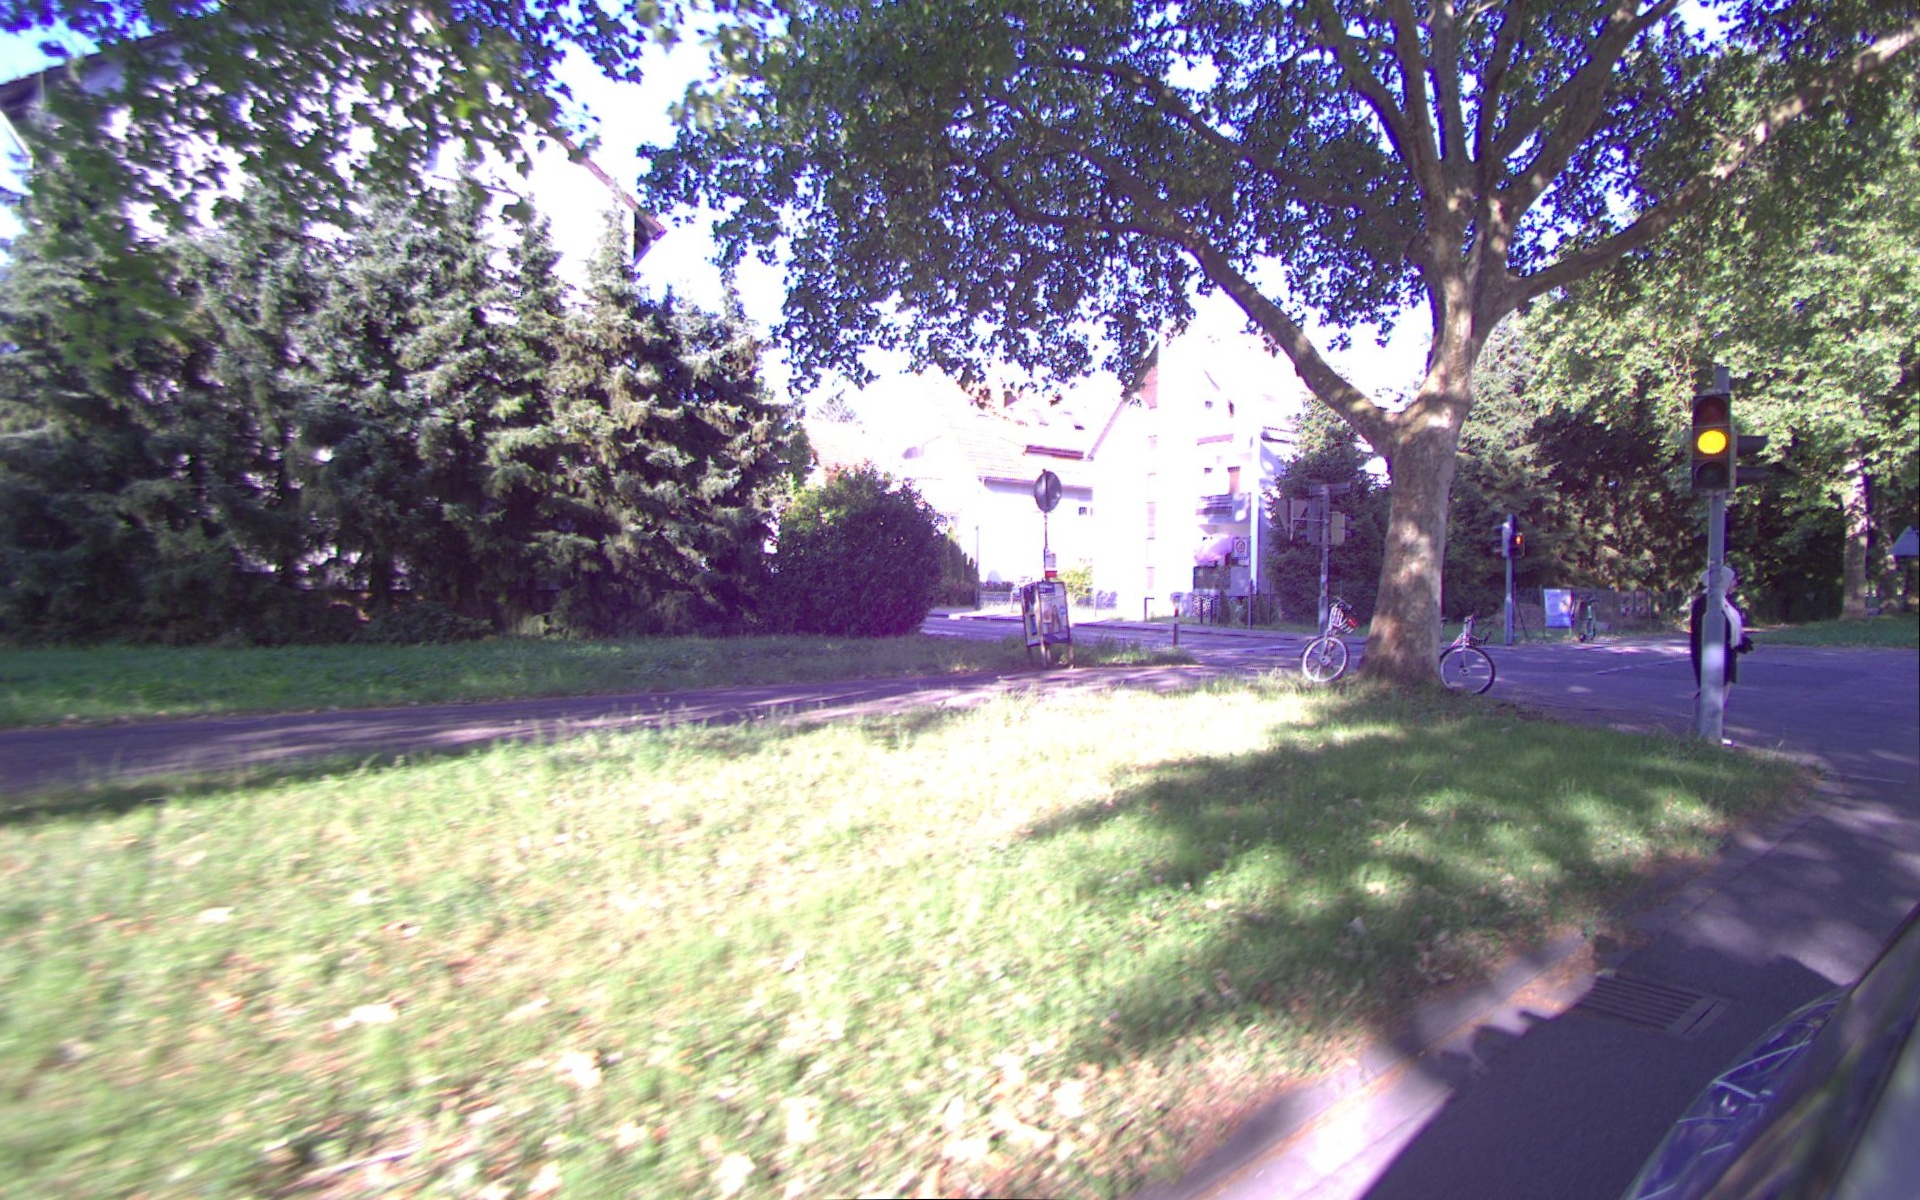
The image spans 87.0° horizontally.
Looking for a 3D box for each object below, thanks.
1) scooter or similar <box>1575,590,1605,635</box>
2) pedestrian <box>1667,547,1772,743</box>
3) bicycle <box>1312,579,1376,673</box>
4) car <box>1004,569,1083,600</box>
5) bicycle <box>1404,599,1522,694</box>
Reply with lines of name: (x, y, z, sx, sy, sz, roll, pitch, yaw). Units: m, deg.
scooter or similar: (17.248, 0.327, 27.705, 1.234, 1.211, 0.383, 0, 0, -43)
pedestrian: (7.175, 0.391, 9.553, 0.634, 1.740, 0.813, 5, 3, 42)
bicycle: (4.972, 0.310, 13.049, 0.443, 1.096, 1.987, 4, 2, 29)
car: (4.104, -0.749, 49.753, 3.512, 1.439, 1.708, 1, 1, -27)
bicycle: (6.333, 0.552, 12.844, 0.437, 1.048, 1.722, 3, 1, -6)
